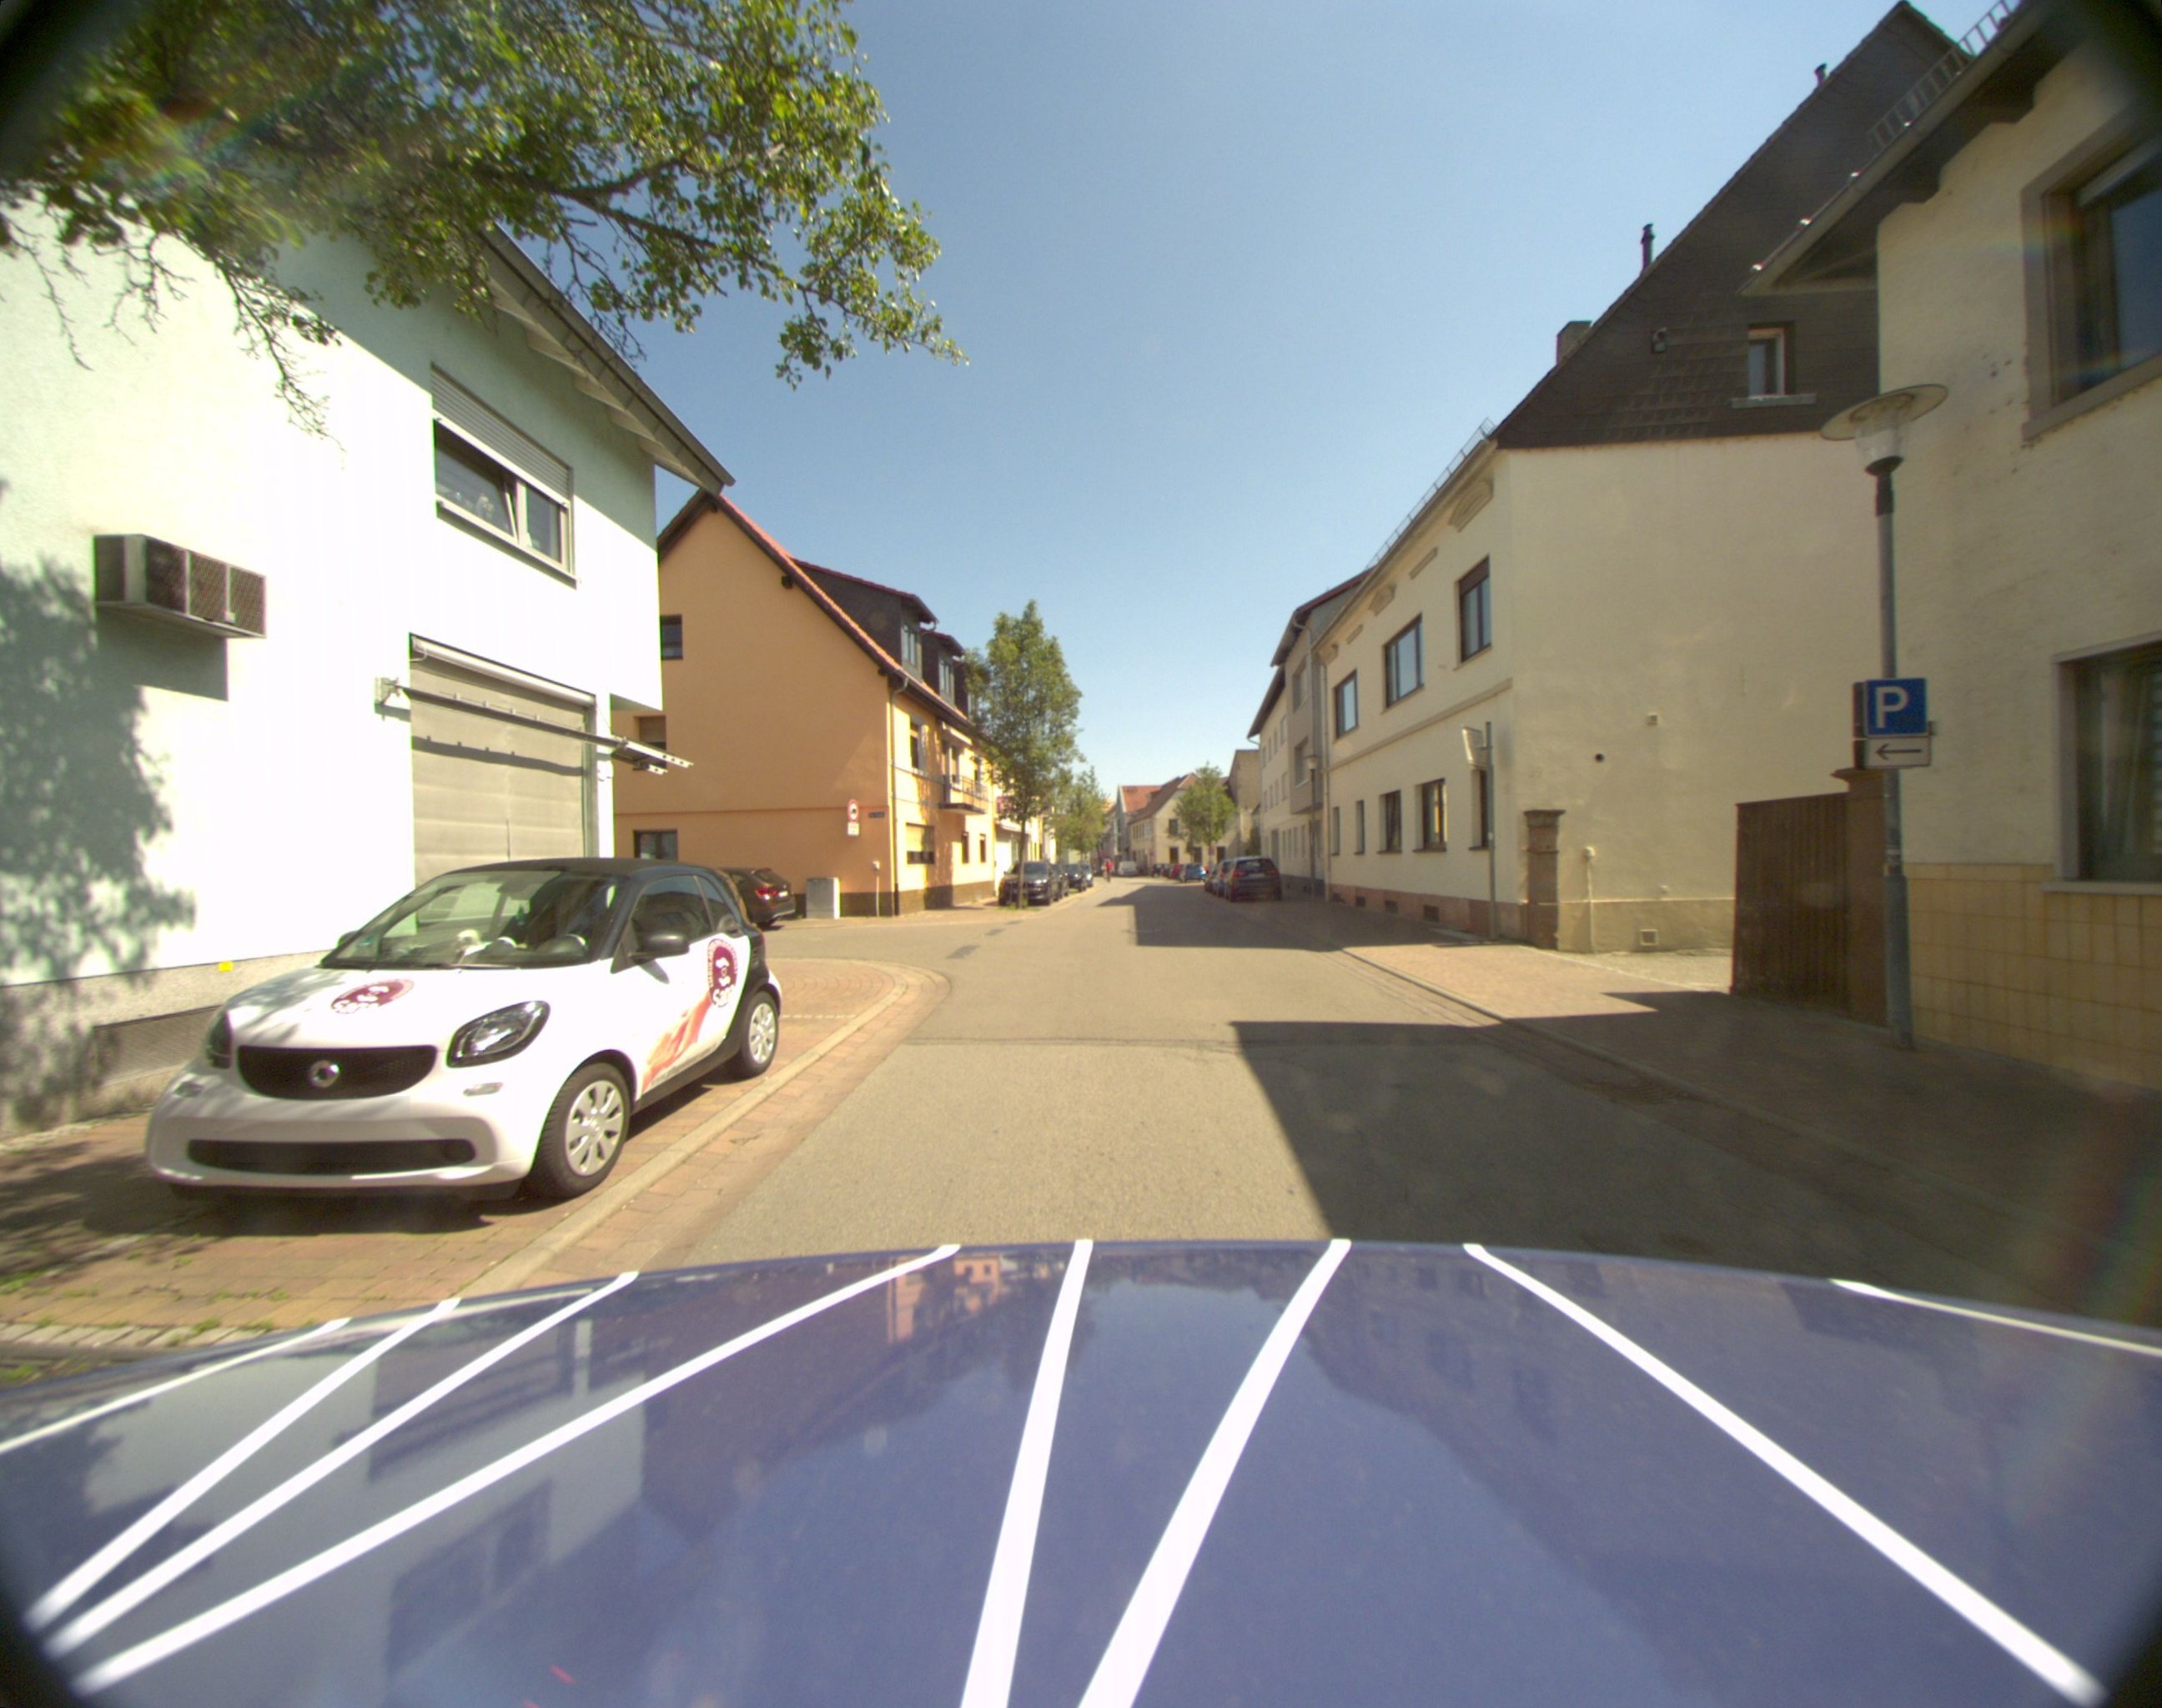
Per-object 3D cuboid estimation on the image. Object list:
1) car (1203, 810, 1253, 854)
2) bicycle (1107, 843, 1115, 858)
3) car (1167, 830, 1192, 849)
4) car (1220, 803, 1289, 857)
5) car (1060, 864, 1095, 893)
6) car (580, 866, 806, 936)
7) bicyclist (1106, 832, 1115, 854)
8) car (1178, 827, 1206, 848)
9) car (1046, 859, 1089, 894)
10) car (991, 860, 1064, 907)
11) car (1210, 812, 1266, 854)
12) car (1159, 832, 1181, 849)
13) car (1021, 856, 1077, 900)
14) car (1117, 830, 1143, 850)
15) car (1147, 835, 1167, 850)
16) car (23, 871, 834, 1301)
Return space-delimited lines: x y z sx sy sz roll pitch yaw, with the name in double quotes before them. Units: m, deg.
"car" 7.201 -1.041 37.536 1.998 1.936 4.110 -3 0 6
"bicycle" 2.419 -0.254 61.758 0.635 1.228 1.894 -1 0 3
"car" 8.383 -1.242 64.971 1.571 1.452 3.801 -3 0 0
"car" 6.273 -0.828 27.849 1.863 1.620 4.049 -7 0 6
"car" -0.170 1.546 49.917 1.998 1.759 4.109 1 0 4
"car" -9.032 1.074 17.994 4.298 1.474 2.000 -1 0 -1
"bicyclist" 2.408 -0.927 61.750 0.645 1.766 0.722 -1 0 3
"car" 8.509 -1.261 58.619 1.571 1.452 3.801 -1 0 0
"car" -0.668 1.179 41.118 1.998 1.759 4.110 -1 0 4
"car" -1.911 1.046 28.475 1.928 1.594 4.111 -1 0 8
"car" 6.748 -0.848 33.051 1.916 1.605 3.988 -3 -1 6
"car" 8.465 -1.259 72.715 1.571 1.452 3.801 -3 0 0
"car" -1.375 1.040 34.492 1.998 1.759 4.109 -3 0 4
"car" 5.834 -1.631 90.889 2.443 2.224 4.959 -3 0 -2
"car" 7.997 -1.224 80.131 1.571 1.452 3.801 -3 0 0
"car" -3.098 0.916 4.854 1.715 1.534 3.998 -1 0 0
